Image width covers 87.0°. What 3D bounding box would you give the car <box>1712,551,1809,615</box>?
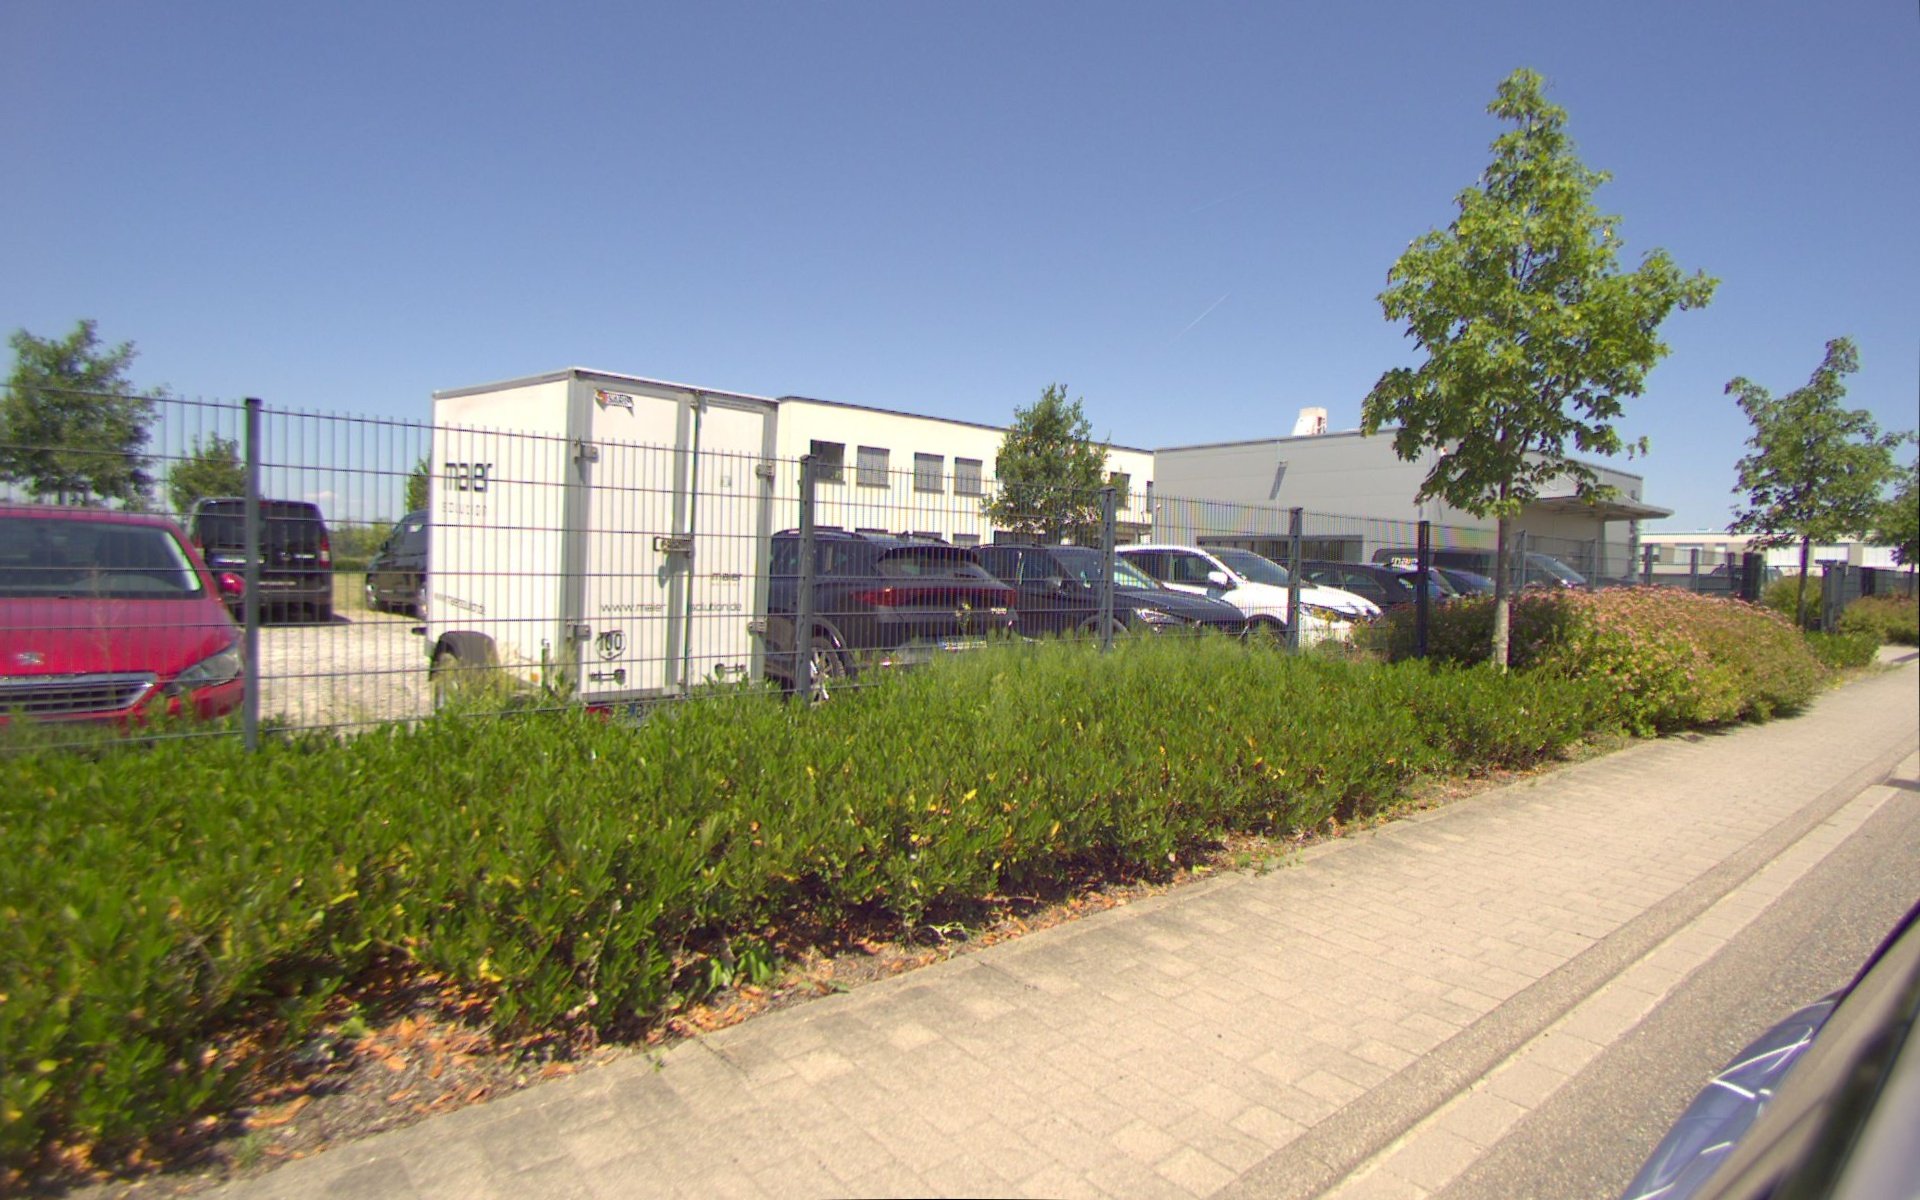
[{"bbox_3d":[28.891,-0.625,36.502,4.151,2.112,1.881,0,3,-40],"label":"car"}]

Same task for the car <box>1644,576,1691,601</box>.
[{"bbox_3d":[43.387,-0.716,62.045,3.719,1.448,1.517,-1,3,-42],"label":"car"}]

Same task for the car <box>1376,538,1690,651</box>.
[{"bbox_3d":[11.365,-0.222,20.444,1.869,1.896,5.126,0,4,-40],"label":"car"}]

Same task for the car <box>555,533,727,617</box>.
[{"bbox_3d":[-6.161,-0.534,19.283,1.693,1.405,4.050,0,3,-40],"label":"car"}]

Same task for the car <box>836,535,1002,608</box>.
[{"bbox_3d":[-1.058,-0.730,24.267,1.885,1.571,4.050,0,3,-40],"label":"car"}]

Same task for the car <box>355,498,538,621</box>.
[{"bbox_3d":[-8.793,-0.721,17.156,1.885,1.822,4.050,0,3,-40],"label":"car"}]

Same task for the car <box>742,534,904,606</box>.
[{"bbox_3d":[-3.193,-0.721,22.989,1.745,1.466,4.050,0,3,-40],"label":"car"}]

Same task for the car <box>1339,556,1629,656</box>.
[{"bbox_3d":[9.335,0.021,18.347,1.574,1.467,4.355,0,4,-40],"label":"car"}]

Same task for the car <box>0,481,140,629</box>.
[{"bbox_3d":[-12.662,-0.663,14.064,1.885,1.785,4.050,0,3,-40],"label":"car"}]

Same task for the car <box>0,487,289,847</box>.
[{"bbox_3d":[-5.134,0.141,5.739,1.774,1.493,3.901,0,4,-40],"label":"car"}]

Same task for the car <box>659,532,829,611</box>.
[{"bbox_3d":[-4.444,-0.617,20.402,1.693,1.405,3.915,0,3,-40],"label":"car"}]

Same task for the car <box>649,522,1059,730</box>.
[{"bbox_3d":[-1.196,0.071,9.579,1.885,1.522,4.050,0,3,-40],"label":"car"}]

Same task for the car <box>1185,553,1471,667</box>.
[{"bbox_3d":[5.375,0.058,15.115,1.616,1.439,3.673,0,3,-40],"label":"car"}]

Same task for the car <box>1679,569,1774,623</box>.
[{"bbox_3d":[24.044,-0.154,31.702,3.811,1.574,1.546,-1,3,-40],"label":"car"}]

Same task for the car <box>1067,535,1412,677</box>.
[{"bbox_3d":[3.473,-0.036,13.167,1.791,1.540,3.996,0,3,-40],"label":"car"}]

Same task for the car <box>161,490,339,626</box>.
[{"bbox_3d":[-10.950,-0.671,15.488,1.885,1.785,4.050,0,3,-40],"label":"car"}]

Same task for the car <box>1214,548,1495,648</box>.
[{"bbox_3d":[6.803,-0.119,17.863,1.724,1.462,4.289,0,4,-40],"label":"car"}]

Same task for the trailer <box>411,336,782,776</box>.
[{"bbox_3d":[-2.662,-0.331,7.110,1.396,2.432,2.826,0,4,-44],"label":"trailer"}]

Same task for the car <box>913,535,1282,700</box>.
[{"bbox_3d":[1.390,0.064,11.567,1.713,1.509,4.050,0,3,-40],"label":"car"}]
